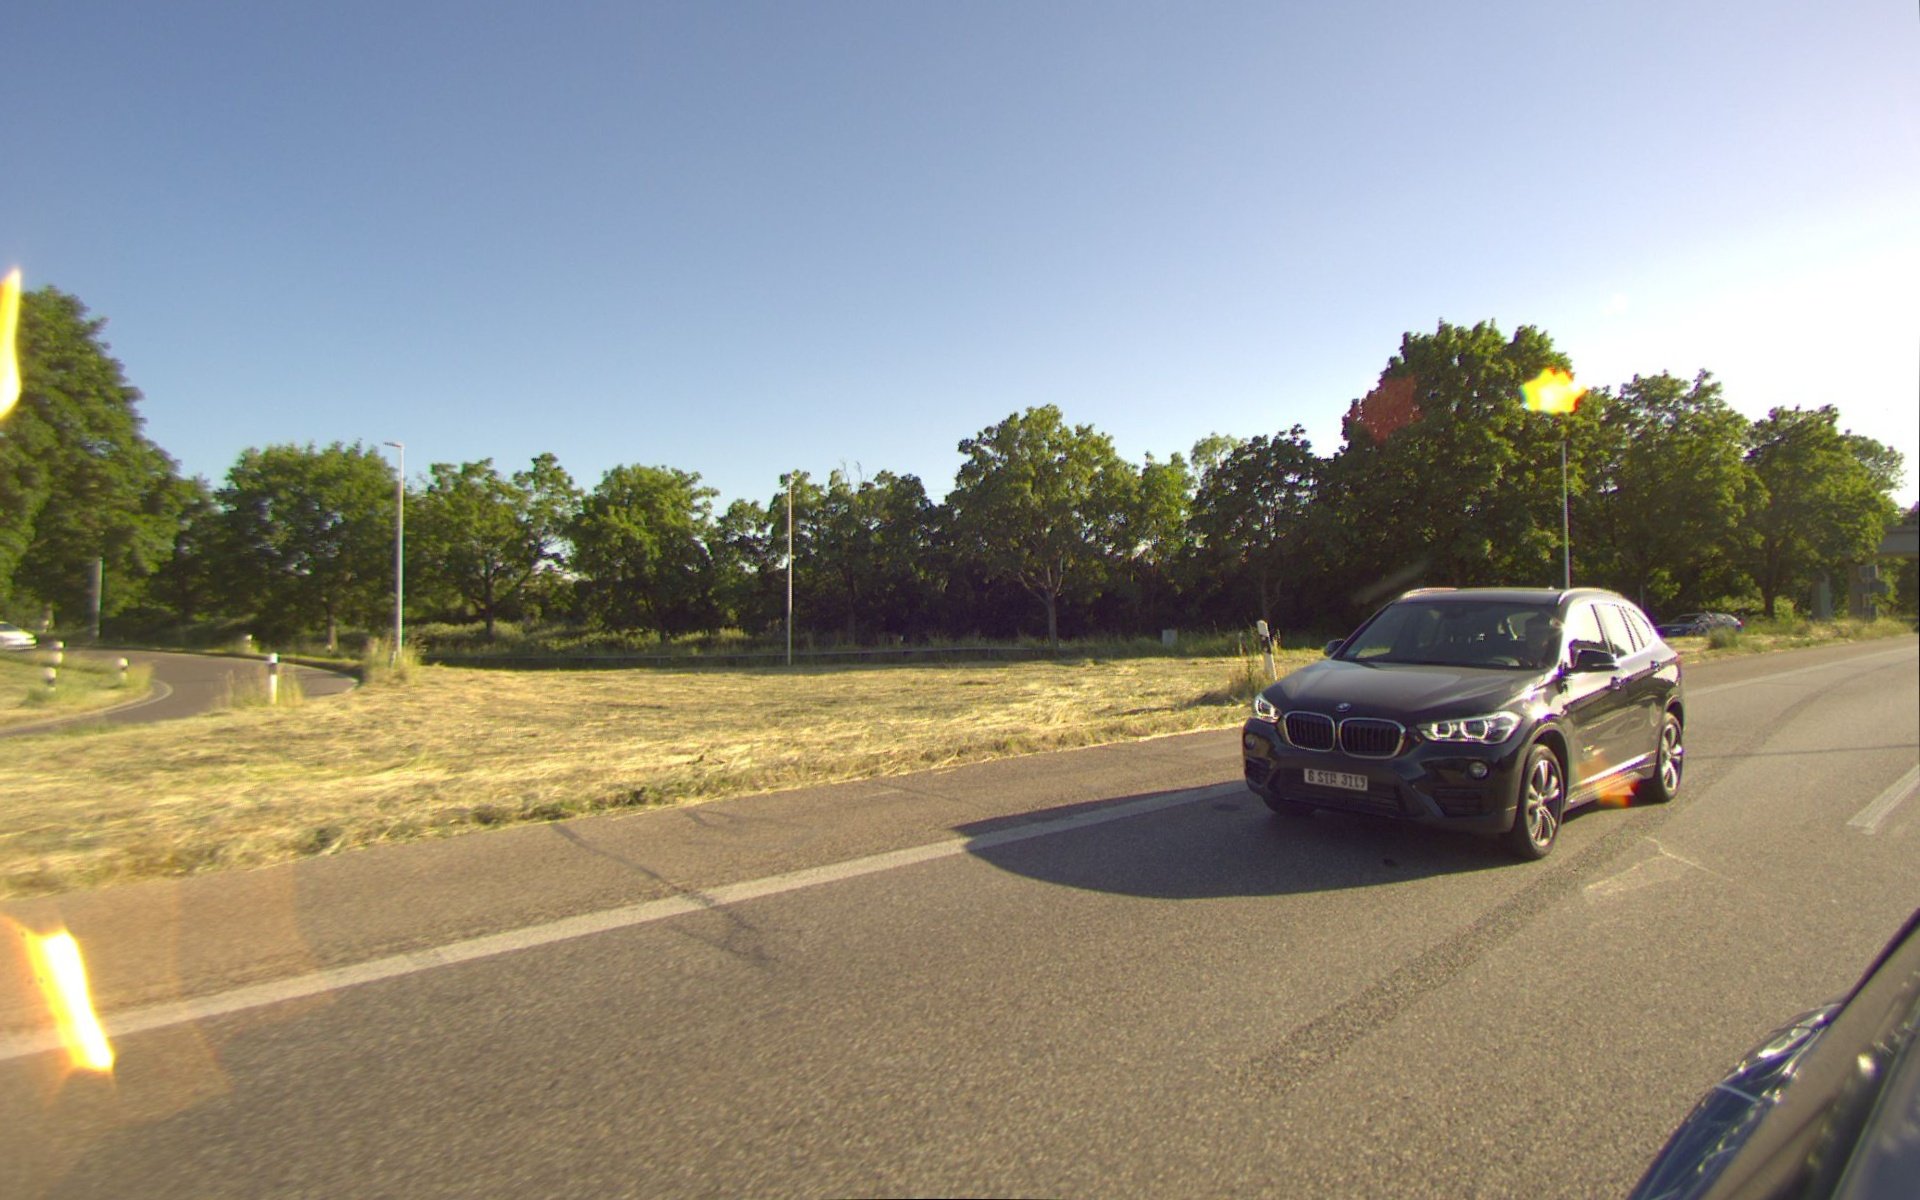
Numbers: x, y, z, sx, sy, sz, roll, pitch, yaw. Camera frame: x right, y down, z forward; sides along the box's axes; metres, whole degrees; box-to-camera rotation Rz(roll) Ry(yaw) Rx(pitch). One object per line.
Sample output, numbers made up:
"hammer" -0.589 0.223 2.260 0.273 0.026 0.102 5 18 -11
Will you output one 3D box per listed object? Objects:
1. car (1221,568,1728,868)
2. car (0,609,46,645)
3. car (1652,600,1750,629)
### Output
"car" 3.996 0.627 7.491 4.440 1.593 1.759 0 0 -40
"car" -47.271 1.294 49.396 3.933 1.713 1.864 0 0 9
"car" 36.690 0.708 50.138 3.970 1.427 1.768 0 -1 -15
